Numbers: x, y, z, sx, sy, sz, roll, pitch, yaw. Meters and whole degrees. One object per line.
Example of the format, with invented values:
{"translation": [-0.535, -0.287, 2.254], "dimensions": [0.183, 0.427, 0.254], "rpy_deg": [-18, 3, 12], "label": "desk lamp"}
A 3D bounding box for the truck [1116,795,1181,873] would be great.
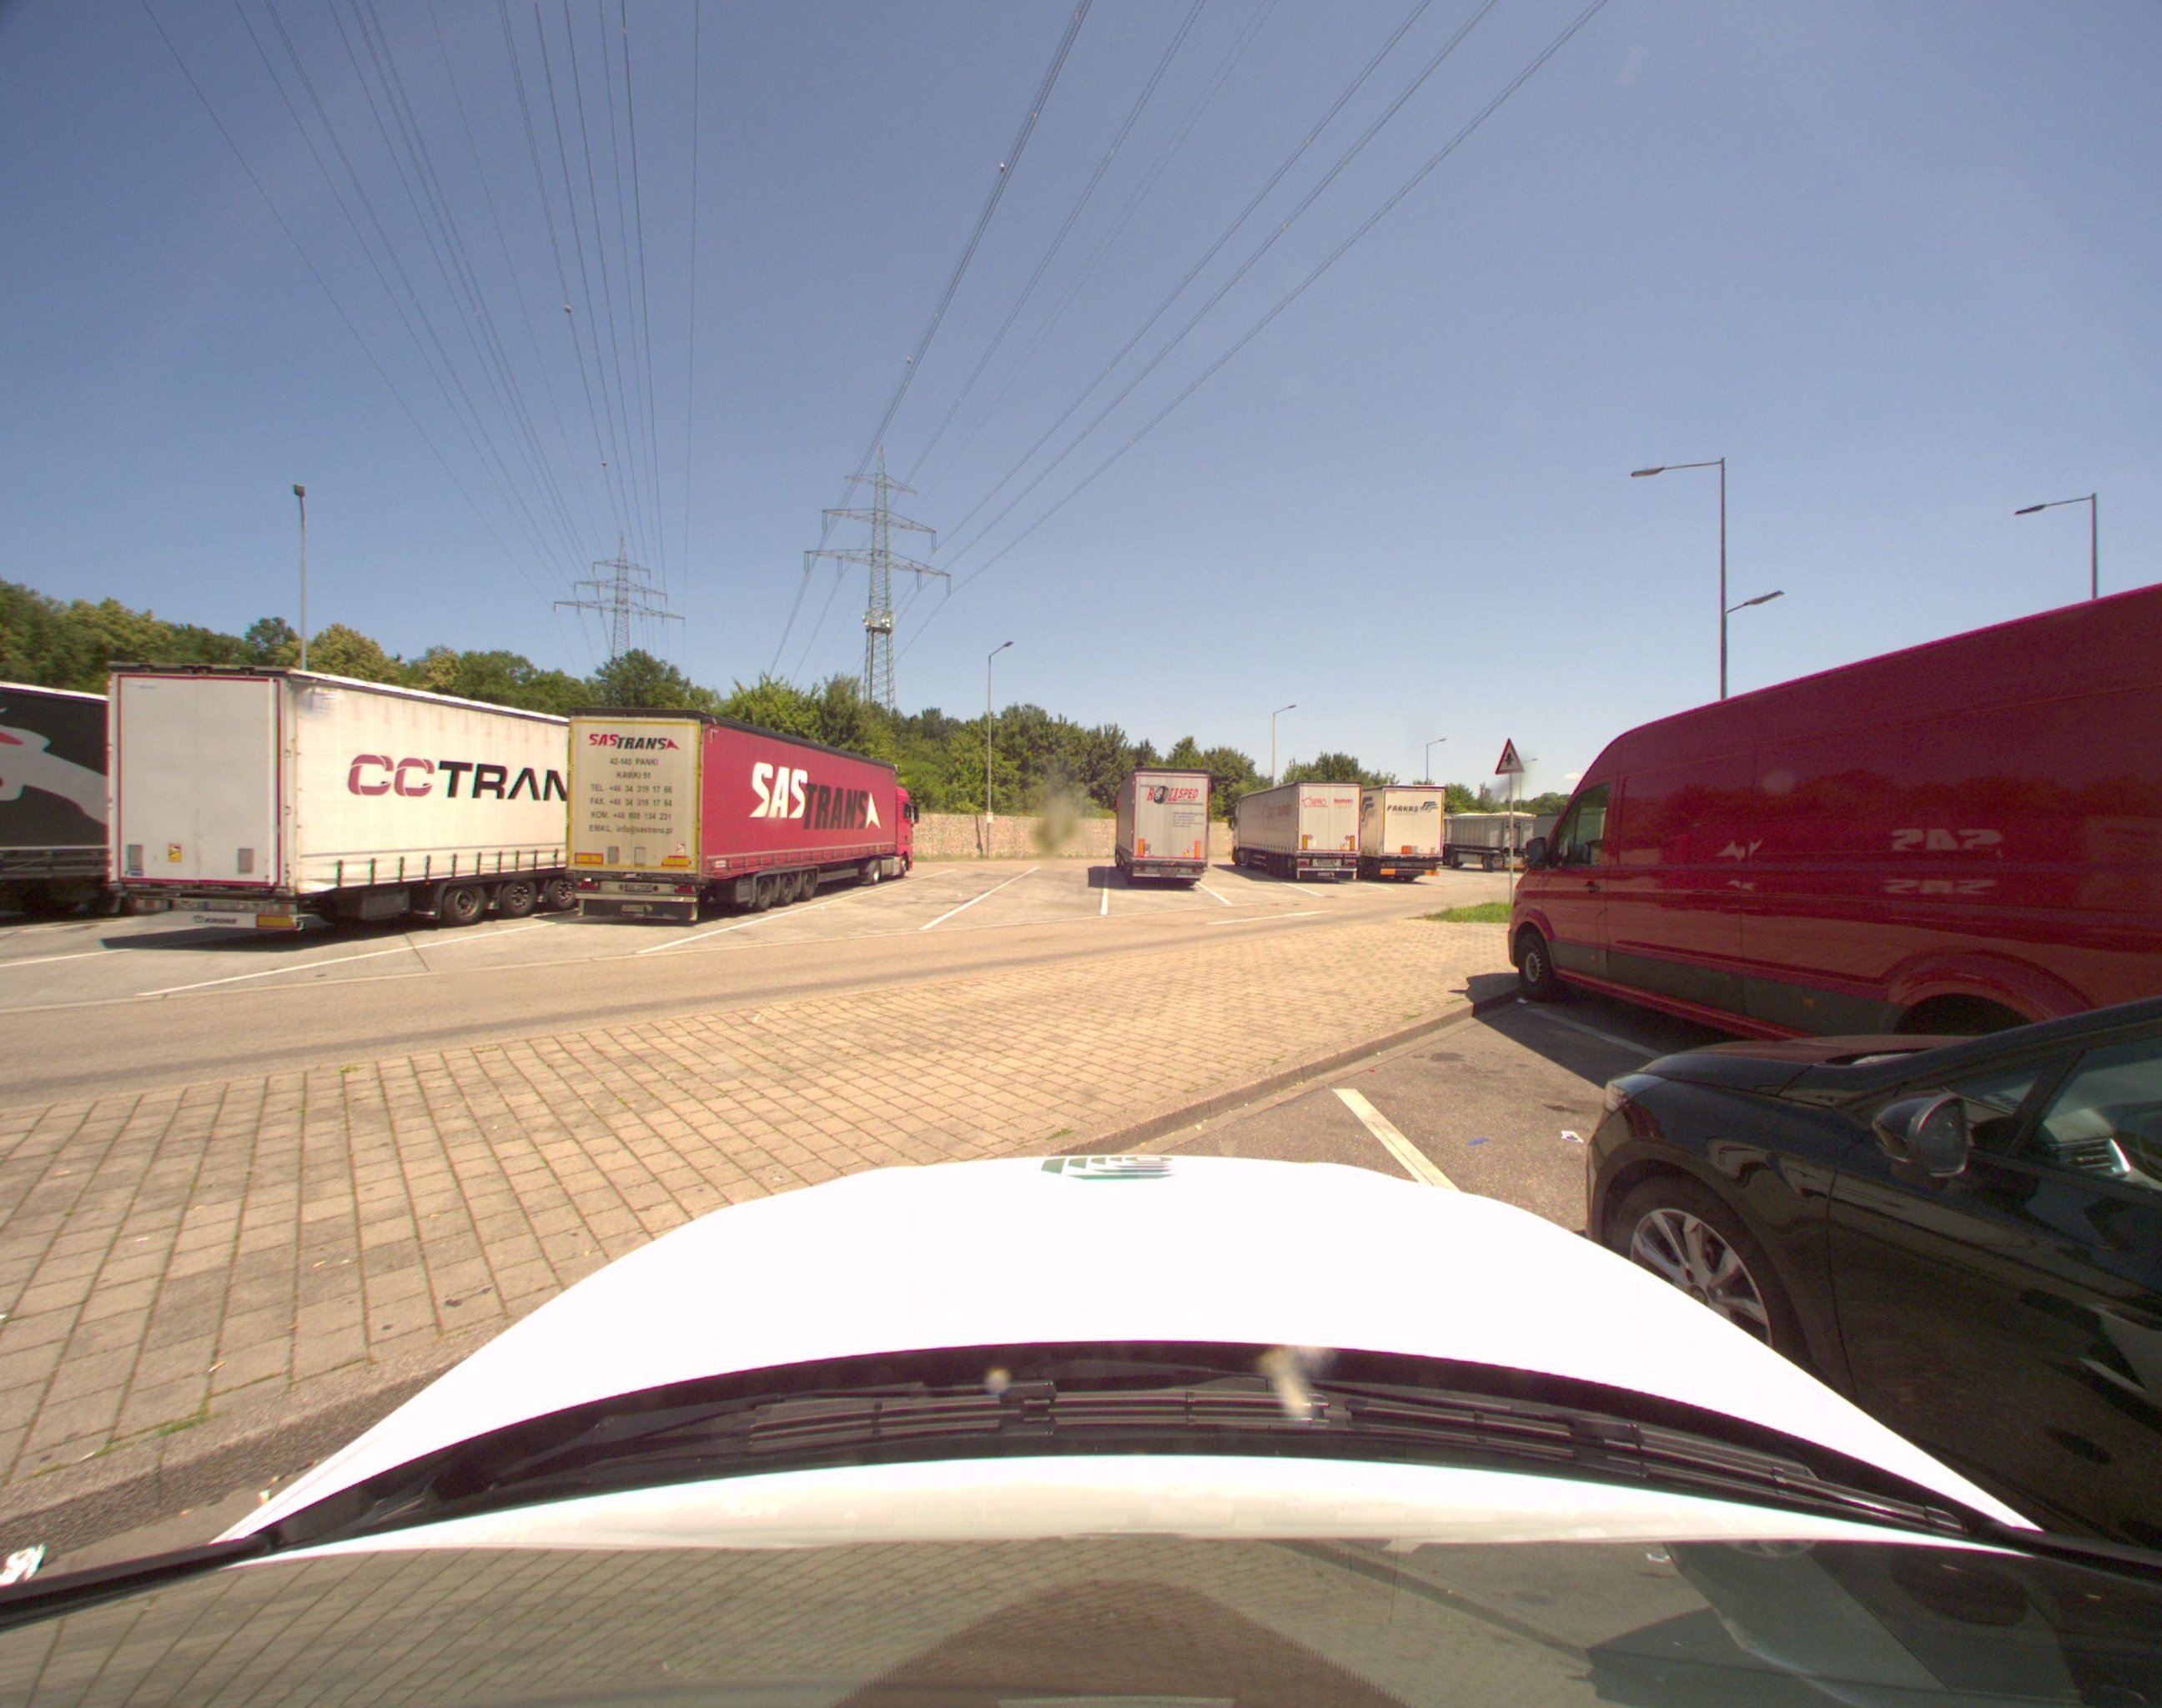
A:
{"translation": [3.182, -0.990, 39.922], "dimensions": [2.841, 3.483, 5.486], "rpy_deg": [1, 1, 2], "label": "truck"}

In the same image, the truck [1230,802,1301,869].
{"translation": [10.178, -1.031, 45.446], "dimensions": [2.841, 3.483, 5.486], "rpy_deg": [1, 1, 2], "label": "truck"}

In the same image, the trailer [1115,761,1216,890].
{"translation": [3.038, -1.103, 33.309], "dimensions": [2.896, 4.132, 13.727], "rpy_deg": [1, 2, 1], "label": "trailer"}

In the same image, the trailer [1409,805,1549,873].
{"translation": [24.547, -1.007, 51.464], "dimensions": [2.826, 3.717, 13.737], "rpy_deg": [1, 2, 3], "label": "trailer"}

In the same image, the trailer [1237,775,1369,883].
{"translation": [9.969, -1.157, 38.635], "dimensions": [2.828, 4.132, 13.730], "rpy_deg": [1, 2, 2], "label": "trailer"}

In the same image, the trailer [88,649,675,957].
{"translation": [-12.193, -0.887, 16.343], "dimensions": [2.718, 4.209, 10.175], "rpy_deg": [1, 2, 2], "label": "trailer"}

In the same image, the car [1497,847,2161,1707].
{"translation": [2.528, 0.753, 1.193], "dimensions": [1.733, 1.482, 3.813], "rpy_deg": [-1, 1, -3], "label": "car"}

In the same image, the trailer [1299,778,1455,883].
{"translation": [13.626, -1.124, 39.298], "dimensions": [2.828, 4.132, 13.730], "rpy_deg": [1, 2, 2], "label": "trailer"}

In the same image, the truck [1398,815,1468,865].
{"translation": [24.937, -1.016, 57.962], "dimensions": [2.840, 3.364, 5.488], "rpy_deg": [1, 1, 3], "label": "truck"}

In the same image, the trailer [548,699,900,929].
{"translation": [-8.027, -0.952, 21.671], "dimensions": [2.896, 4.131, 13.731], "rpy_deg": [1, 2, 2], "label": "trailer"}

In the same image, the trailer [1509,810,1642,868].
{"translation": [38.391, -1.246, 64.146], "dimensions": [2.826, 4.049, 13.737], "rpy_deg": [1, 2, 3], "label": "trailer"}

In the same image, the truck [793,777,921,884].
{"translation": [-7.788, -0.834, 29.108], "dimensions": [2.841, 3.427, 5.486], "rpy_deg": [1, 1, 2], "label": "truck"}

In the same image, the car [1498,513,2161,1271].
{"translation": [5.171, 0.085, 5.502], "dimensions": [2.055, 2.695, 6.405], "rpy_deg": [-1, 1, 6], "label": "car"}

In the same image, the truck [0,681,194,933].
{"translation": [-18.569, -0.798, 13.579], "dimensions": [2.692, 4.016, 4.326], "rpy_deg": [1, 2, 2], "label": "truck"}
